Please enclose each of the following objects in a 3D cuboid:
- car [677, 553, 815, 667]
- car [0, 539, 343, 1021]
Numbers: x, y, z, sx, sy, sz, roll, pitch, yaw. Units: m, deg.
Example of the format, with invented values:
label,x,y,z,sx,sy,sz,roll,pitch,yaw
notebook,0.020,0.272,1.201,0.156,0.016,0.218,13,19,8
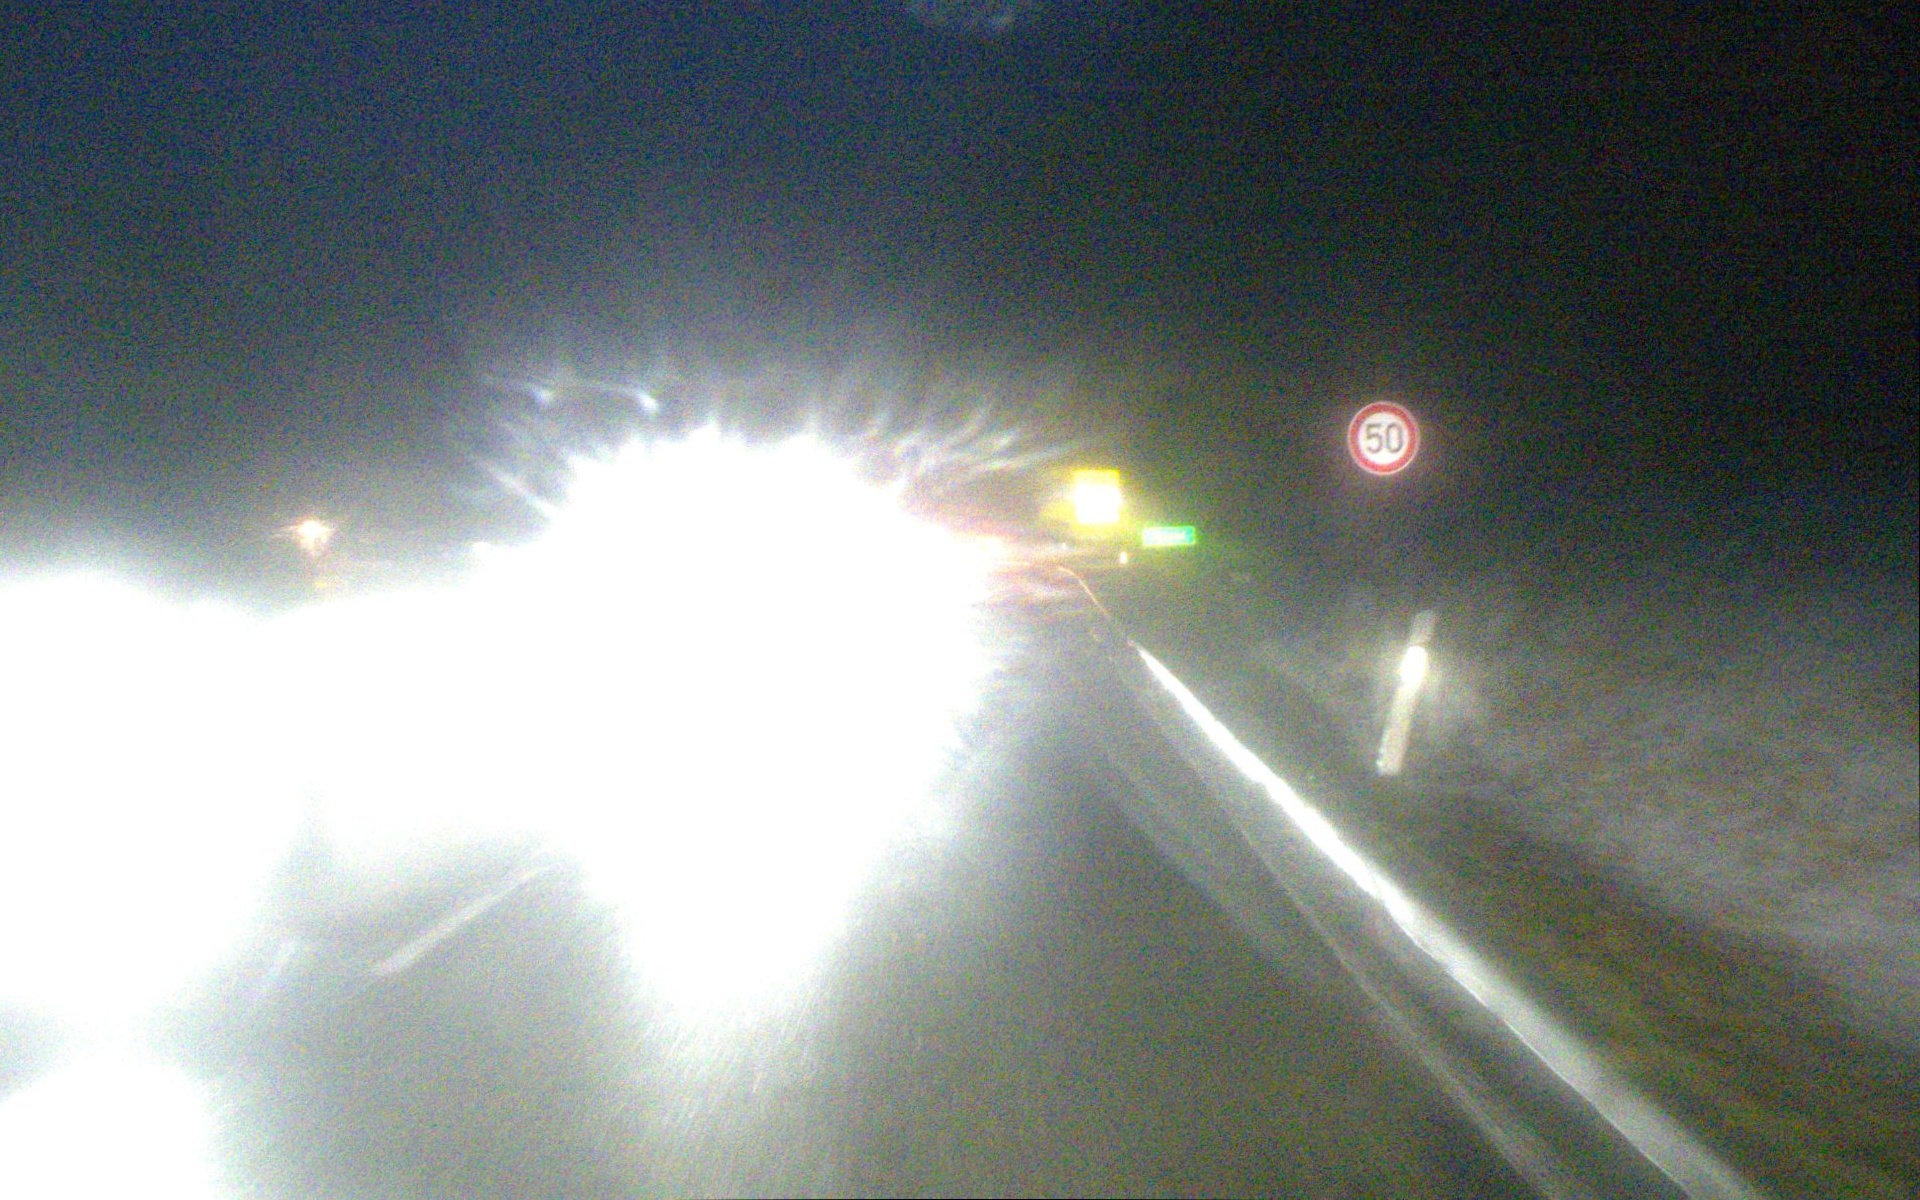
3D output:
label,x,y,z,sx,sy,sz,roll,pitch,yaw
car,-3.296,0.117,53.590,1.781,1.661,4.472,-1,1,1
car,-3.350,0.500,11.980,1.740,1.397,3.861,-1,1,-1
